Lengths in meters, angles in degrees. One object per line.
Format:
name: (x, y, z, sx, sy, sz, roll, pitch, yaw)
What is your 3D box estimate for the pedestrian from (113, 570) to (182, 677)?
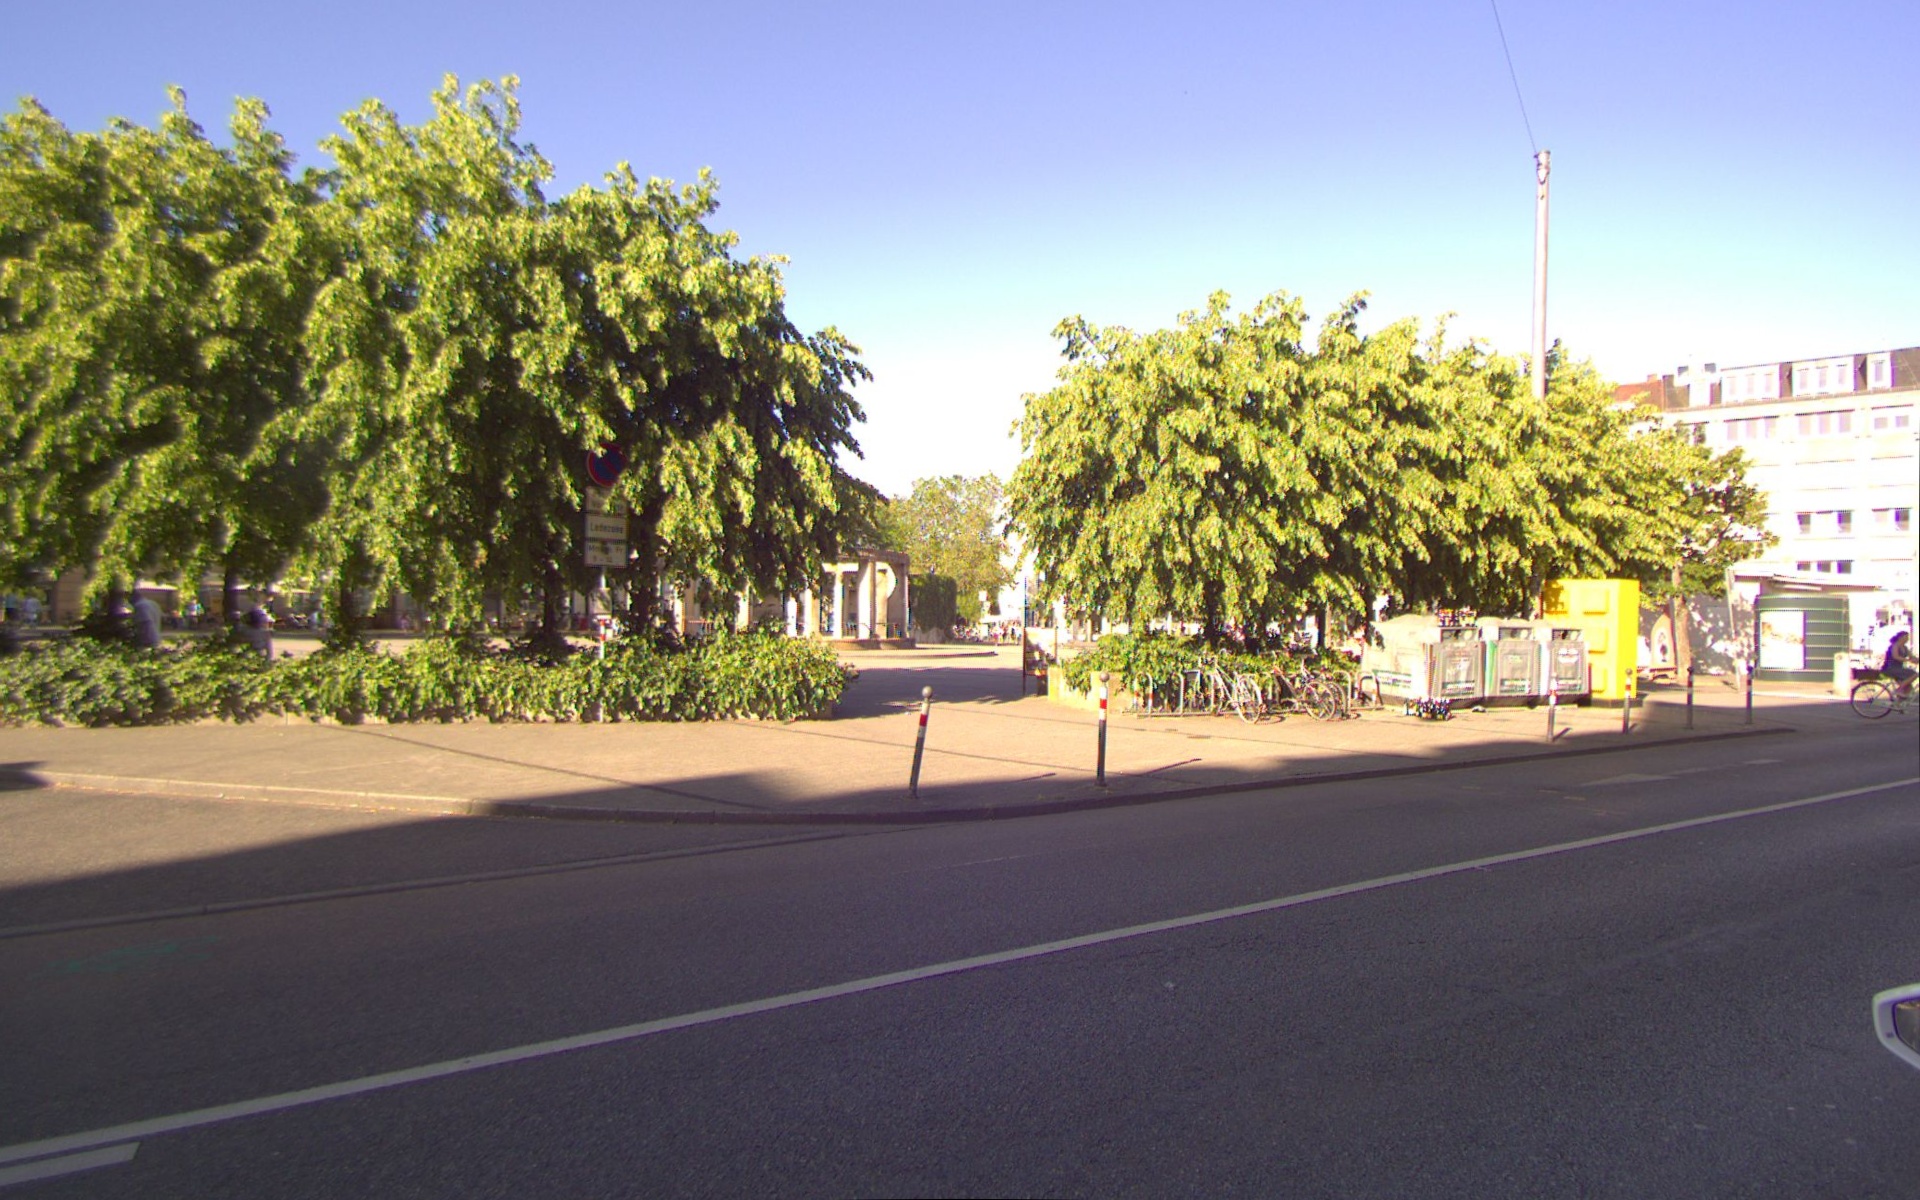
pedestrian: (-12.996, 0.375, 16.090, 0.615, 1.671, 0.654, 2, 0, -16)

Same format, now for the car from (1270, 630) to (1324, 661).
car: (16.520, 2.216, 49.358, 1.658, 1.405, 3.575, 1, -1, 5)

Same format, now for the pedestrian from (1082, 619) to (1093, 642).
pedestrian: (12.669, 3.022, 99.605, 0.860, 2.199, 0.902, 2, 0, -5)

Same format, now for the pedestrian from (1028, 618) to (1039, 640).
pedestrian: (6.939, 2.722, 94.995, 0.860, 2.040, 0.902, 2, 0, -5)

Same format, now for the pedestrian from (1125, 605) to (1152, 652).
pedestrian: (7.977, 1.266, 44.858, 0.875, 2.040, 0.896, 1, 0, -17)

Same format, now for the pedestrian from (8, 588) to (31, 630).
pedestrian: (-39.587, 0.394, 42.289, 0.600, 1.744, 0.643, 2, 0, 45)

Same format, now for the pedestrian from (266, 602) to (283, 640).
pedestrian: (-35.717, 1.094, 52.337, 0.669, 1.974, 0.634, 2, 0, -33)

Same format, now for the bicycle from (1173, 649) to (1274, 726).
bicycle: (4.062, 1.330, 15.652, 0.508, 1.029, 1.930, 2, 0, -19)

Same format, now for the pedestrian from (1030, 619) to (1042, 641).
pedestrian: (7.472, 2.944, 98.741, 1.014, 2.040, 1.159, 2, 0, -5)

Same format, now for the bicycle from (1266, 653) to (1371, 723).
bicycle: (5.818, 1.406, 16.413, 0.508, 0.968, 1.898, 2, 0, -20)

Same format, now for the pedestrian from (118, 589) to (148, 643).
pedestrian: (-27.048, 0.514, 32.856, 0.599, 1.744, 0.644, 2, 0, 41)

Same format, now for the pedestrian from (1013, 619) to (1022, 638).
pedestrian: (5.483, 2.722, 95.925, 0.718, 1.862, 0.697, 2, 0, -5)

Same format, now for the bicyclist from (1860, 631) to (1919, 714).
bicyclist: (17.960, 1.367, 19.199, 0.691, 1.502, 0.889, 1, 0, -22)

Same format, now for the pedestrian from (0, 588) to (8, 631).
pedestrian: (-39.121, 0.379, 40.790, 0.600, 1.744, 0.643, 2, 0, 45)

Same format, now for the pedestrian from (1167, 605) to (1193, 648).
pedestrian: (10.734, 1.284, 48.961, 0.875, 2.040, 0.896, 1, 0, -17)

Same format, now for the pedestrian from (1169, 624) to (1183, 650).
pedestrian: (14.219, 2.435, 66.172, 0.741, 1.740, 0.854, 1, -1, 4)

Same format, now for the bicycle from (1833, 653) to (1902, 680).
bicycle: (30.813, 2.249, 34.122, 0.600, 0.802, 1.634, 2, 0, -33)

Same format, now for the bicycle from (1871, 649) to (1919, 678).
bicycle: (33.169, 2.227, 35.136, 0.599, 0.946, 1.855, 1, -1, -30)

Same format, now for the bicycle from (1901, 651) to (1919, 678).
bicycle: (35.052, 2.334, 35.969, 0.599, 0.946, 1.854, 2, 0, -30)

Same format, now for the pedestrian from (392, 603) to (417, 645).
pedestrian: (-23.200, 1.008, 41.955, 0.598, 1.744, 0.645, 2, 0, 32)

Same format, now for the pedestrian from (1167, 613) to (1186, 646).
pedestrian: (11.689, 1.579, 54.226, 0.774, 1.720, 0.763, 1, 0, -6)

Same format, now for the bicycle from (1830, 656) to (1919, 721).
bicycle: (17.960, 1.682, 19.175, 0.698, 1.133, 1.930, 1, 0, -21)

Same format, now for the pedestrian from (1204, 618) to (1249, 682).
pedestrian: (8.832, 1.642, 33.301, 0.967, 2.040, 1.042, 2, 0, -42)

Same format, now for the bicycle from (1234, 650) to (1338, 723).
bicycle: (5.248, 1.374, 16.300, 0.508, 1.016, 1.923, 2, 0, -20)

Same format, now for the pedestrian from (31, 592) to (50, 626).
pedestrian: (-47.763, 0.456, 52.179, 0.599, 1.744, 0.644, 2, 0, 39)

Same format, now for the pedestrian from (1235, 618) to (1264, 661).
pedestrian: (14.192, 1.934, 49.291, 1.034, 2.040, 1.038, 2, 0, -1)

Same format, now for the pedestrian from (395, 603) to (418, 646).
pedestrian: (-23.064, 1.012, 41.858, 0.599, 1.744, 0.644, 2, 0, 37)
